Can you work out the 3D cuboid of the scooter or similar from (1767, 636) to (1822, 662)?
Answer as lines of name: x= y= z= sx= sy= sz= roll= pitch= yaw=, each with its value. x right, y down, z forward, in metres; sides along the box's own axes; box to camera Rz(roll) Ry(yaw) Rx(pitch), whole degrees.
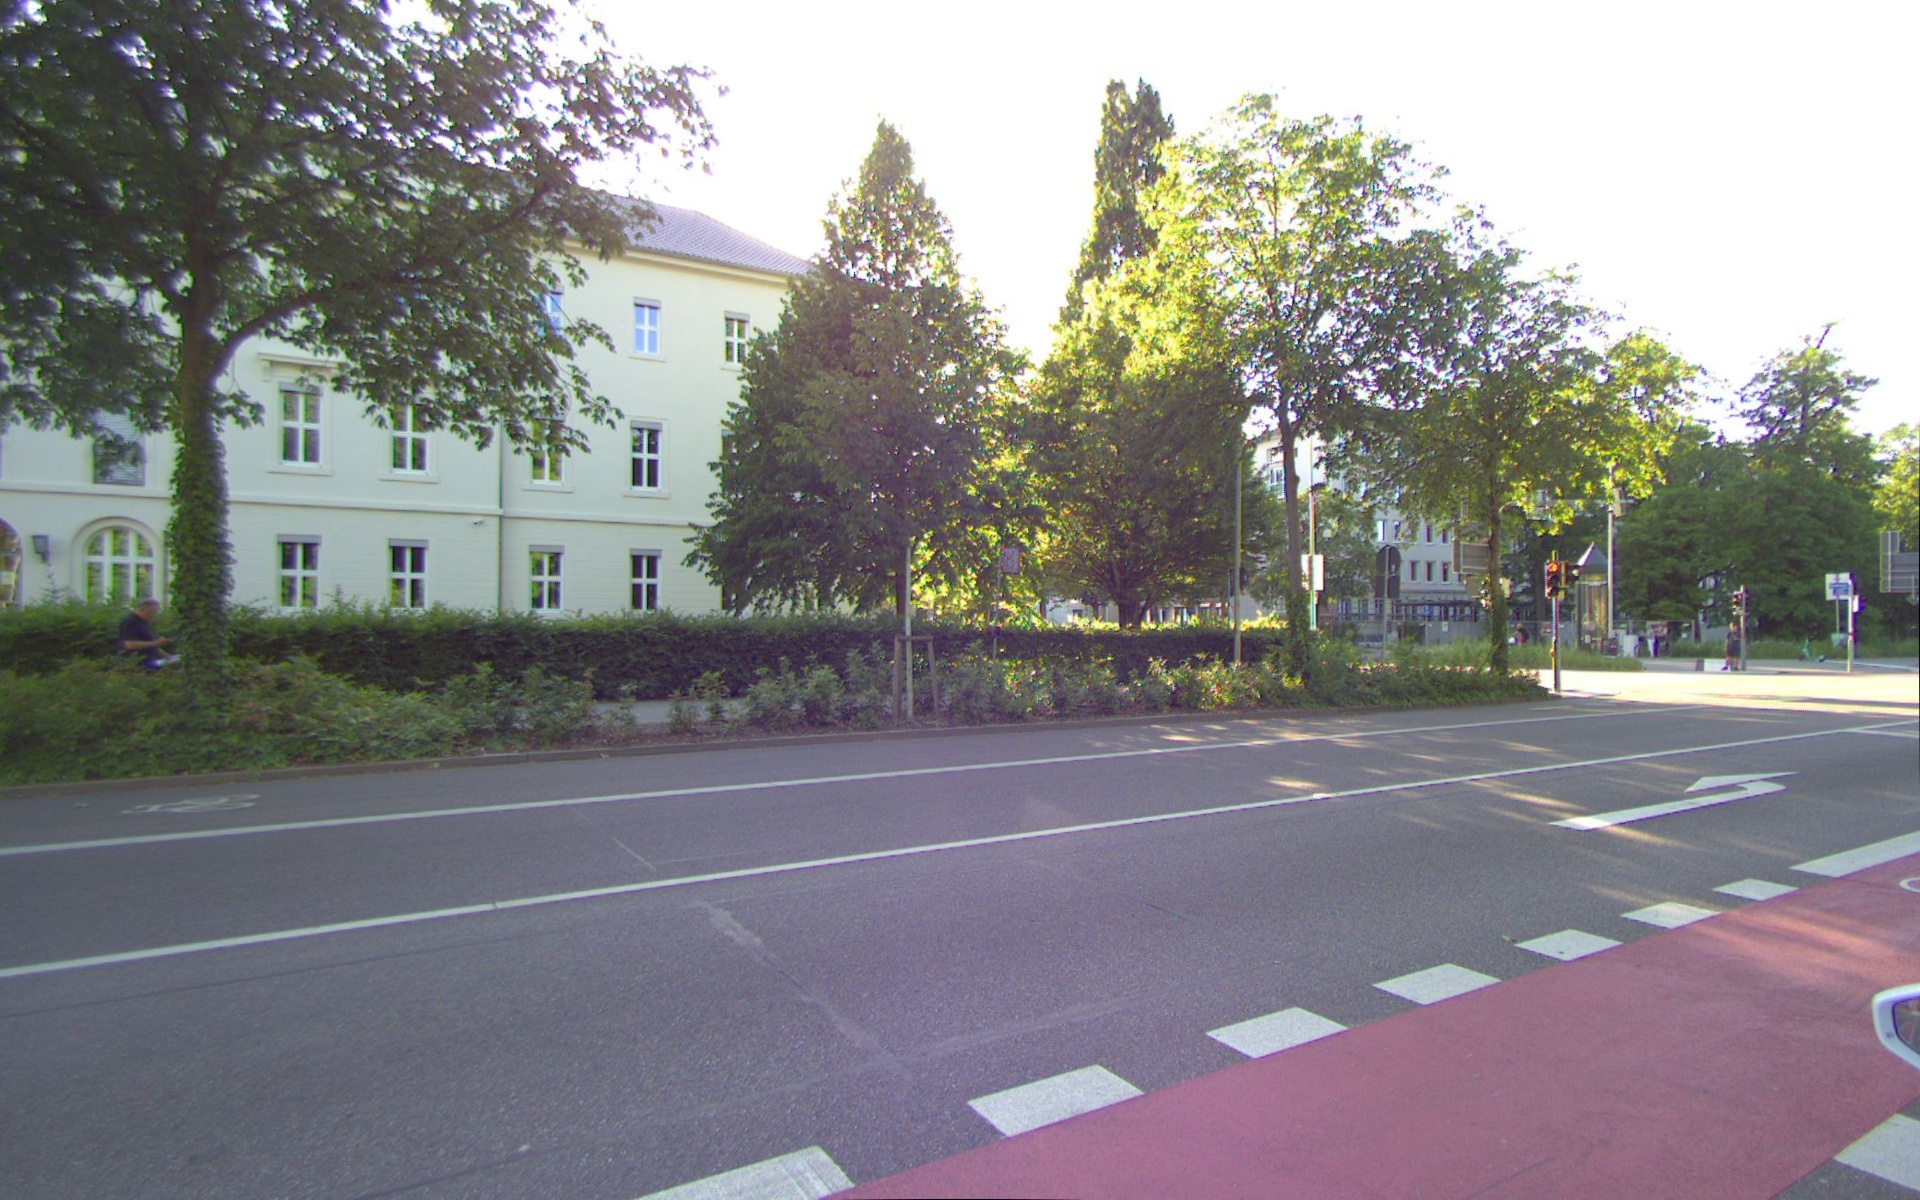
scooter or similar: x=38.789 y=2.290 z=46.703 sx=1.882 sy=1.139 sz=0.713 roll=1 pitch=0 yaw=3

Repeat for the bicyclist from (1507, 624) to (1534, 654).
bicyclist: x=30.639 y=2.125 z=54.952 sx=0.867 sy=1.627 sz=0.970 roll=1 pitch=-2 yaw=-29

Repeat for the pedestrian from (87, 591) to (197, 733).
pedestrian: x=-10.495 y=0.774 z=12.933 sx=0.957 sy=1.743 sz=0.830 roll=1 pitch=-2 yaw=-31

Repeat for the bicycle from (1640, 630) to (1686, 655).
bicycle: x=34.902 y=2.087 z=49.902 sx=0.288 sy=1.163 sz=1.849 roll=1 pitch=-1 yaw=-36

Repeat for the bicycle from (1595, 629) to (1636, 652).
bicycle: x=34.018 y=2.097 z=52.146 sx=0.436 sy=1.163 sz=1.858 roll=1 pitch=-1 yaw=-21

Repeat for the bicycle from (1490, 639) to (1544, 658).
bicycle: x=30.550 y=2.639 z=55.110 sx=0.574 sy=1.002 sz=2.694 roll=1 pitch=-2 yaw=-29

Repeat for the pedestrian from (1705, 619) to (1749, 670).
pedestrian: x=31.877 y=1.846 z=41.753 sx=1.175 sy=2.040 sz=0.992 roll=1 pitch=0 yaw=-25

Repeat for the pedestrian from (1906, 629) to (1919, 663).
pedestrian: x=46.397 y=2.200 z=48.370 sx=0.992 sy=1.624 sz=1.080 roll=1 pitch=-2 yaw=-36
